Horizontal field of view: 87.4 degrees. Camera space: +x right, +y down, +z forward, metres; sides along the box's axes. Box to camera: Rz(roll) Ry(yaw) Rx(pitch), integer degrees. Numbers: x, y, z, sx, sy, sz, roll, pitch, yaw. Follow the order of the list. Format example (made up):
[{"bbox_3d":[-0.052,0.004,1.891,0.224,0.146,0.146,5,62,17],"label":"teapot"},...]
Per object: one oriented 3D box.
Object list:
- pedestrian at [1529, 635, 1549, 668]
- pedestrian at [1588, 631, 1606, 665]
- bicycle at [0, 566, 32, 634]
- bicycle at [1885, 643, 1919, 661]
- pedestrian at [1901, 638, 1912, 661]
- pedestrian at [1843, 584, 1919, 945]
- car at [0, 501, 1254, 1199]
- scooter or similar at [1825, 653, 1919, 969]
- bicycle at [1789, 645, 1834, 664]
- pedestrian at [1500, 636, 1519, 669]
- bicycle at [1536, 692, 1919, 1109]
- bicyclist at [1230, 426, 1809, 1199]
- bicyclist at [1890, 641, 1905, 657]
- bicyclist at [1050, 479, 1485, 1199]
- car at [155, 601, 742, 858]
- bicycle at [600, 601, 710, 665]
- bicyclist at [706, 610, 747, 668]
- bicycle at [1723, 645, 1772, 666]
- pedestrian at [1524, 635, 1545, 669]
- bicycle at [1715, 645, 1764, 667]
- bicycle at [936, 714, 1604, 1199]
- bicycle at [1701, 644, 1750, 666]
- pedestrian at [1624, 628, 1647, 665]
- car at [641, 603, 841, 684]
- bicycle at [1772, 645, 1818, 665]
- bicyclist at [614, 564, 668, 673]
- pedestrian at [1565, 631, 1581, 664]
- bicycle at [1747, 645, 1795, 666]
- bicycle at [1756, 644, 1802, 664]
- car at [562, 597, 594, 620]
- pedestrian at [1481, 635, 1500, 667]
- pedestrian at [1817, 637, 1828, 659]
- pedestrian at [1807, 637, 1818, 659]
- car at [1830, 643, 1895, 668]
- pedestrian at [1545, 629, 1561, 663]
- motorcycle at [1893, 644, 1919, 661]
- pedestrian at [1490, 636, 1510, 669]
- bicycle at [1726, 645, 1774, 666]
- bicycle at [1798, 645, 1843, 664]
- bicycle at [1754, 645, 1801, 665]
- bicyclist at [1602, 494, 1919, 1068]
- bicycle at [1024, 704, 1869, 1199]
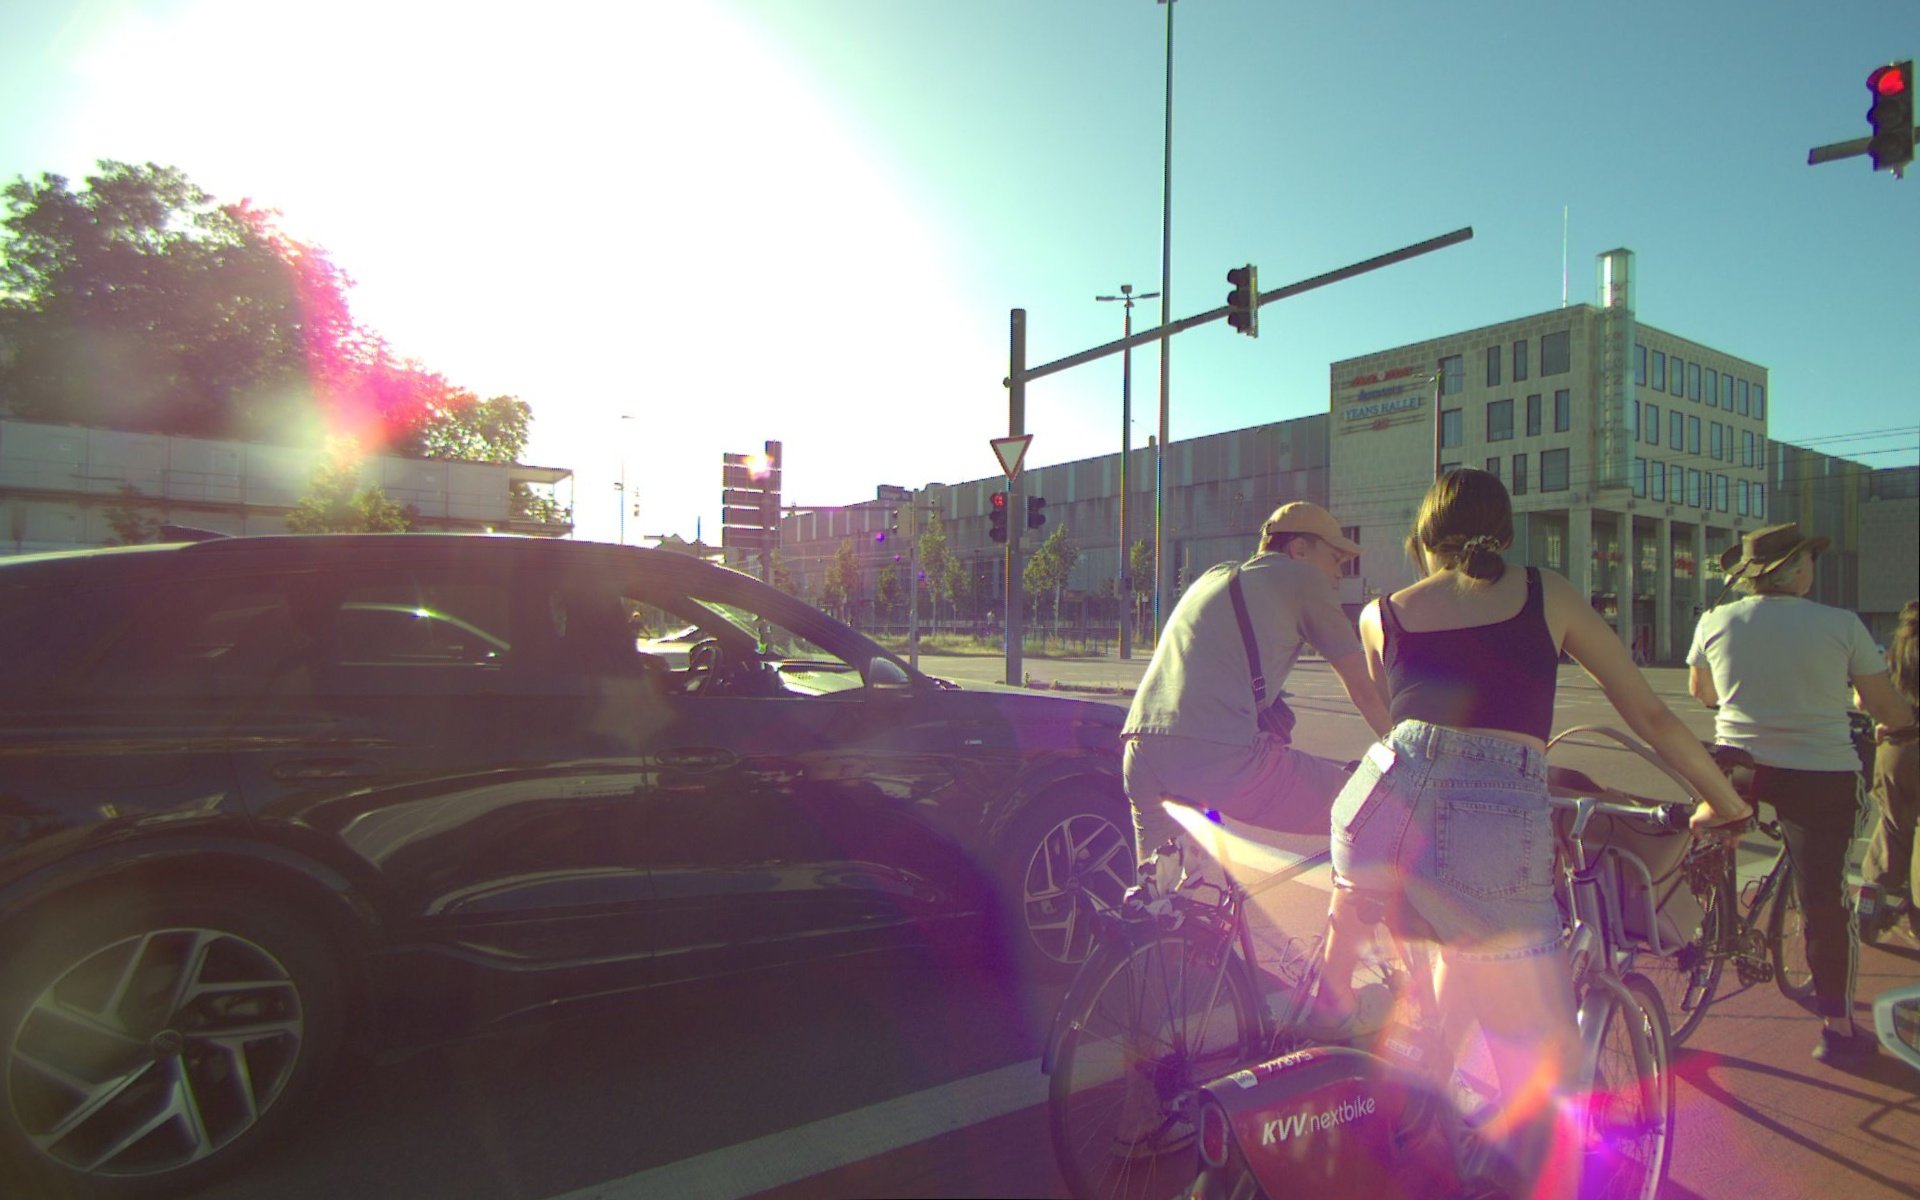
[{"bbox_3d":[34.407,3.052,59.685,0.710,1.910,0.779,2,0,-36],"label":"pedestrian"},{"bbox_3d":[35.872,2.702,56.579,0.784,1.868,0.863,0,-1,28],"label":"pedestrian"},{"bbox_3d":[-17.050,-0.019,17.179,1.632,1.170,0.493,2,0,-32],"label":"bicycle"},{"bbox_3d":[68.644,3.749,73.142,1.775,1.223,0.512,1,0,21],"label":"bicycle"},{"bbox_3d":[71.098,3.683,75.450,0.579,1.702,0.516,1,1,-43],"label":"pedestrian"},{"bbox_3d":[4.632,0.763,4.804,0.568,1.654,0.543,2,0,-45],"label":"pedestrian"},{"bbox_3d":[-1.155,0.632,3.868,4.630,1.656,1.760,1,0,-32],"label":"car"},{"bbox_3d":[4.491,0.927,4.712,1.186,1.311,0.541,2,0,-45],"label":"scooter or similar"},{"bbox_3d":[58.852,3.745,69.423,0.605,1.238,2.295,1,-1,-31],"label":"bicycle"},{"bbox_3d":[33.224,3.174,60.686,0.780,1.910,0.709,2,0,-37],"label":"pedestrian"},{"bbox_3d":[2.877,0.962,3.677,1.810,1.171,0.482,2,0,-31],"label":"bicycle"},{"bbox_3d":[1.086,0.550,1.974,0.866,1.600,0.638,1,0,-33],"label":"bicyclist"},{"bbox_3d":[68.360,3.576,73.265,0.613,1.099,0.512,1,0,20],"label":"bicyclist"},{"bbox_3d":[0.801,0.560,2.671,0.833,1.627,0.712,1,0,-32],"label":"bicyclist"},{"bbox_3d":[-3.587,0.790,7.494,3.562,1.505,1.485,1,0,-30],"label":"car"},{"bbox_3d":[-9.117,0.948,30.057,3.047,1.835,0.835,0,1,-32],"label":"bicycle"},{"bbox_3d":[-8.422,1.395,36.287,1.078,2.040,0.961,2,0,16],"label":"bicyclist"},{"bbox_3d":[48.047,3.374,61.334,0.605,1.238,2.295,1,-1,-31],"label":"bicycle"},{"bbox_3d":[33.397,3.015,58.373,0.710,1.910,0.779,2,0,-36],"label":"pedestrian"},{"bbox_3d":[46.964,3.337,60.523,0.605,1.238,2.295,1,-1,-31],"label":"bicycle"},{"bbox_3d":[0.939,0.954,2.768,1.949,1.124,0.643,1,0,-33],"label":"bicycle"},{"bbox_3d":[45.763,3.298,60.079,0.605,1.238,2.295,1,-1,-31],"label":"bicycle"},{"bbox_3d":[38.054,2.619,56.566,0.767,2.040,0.876,2,0,-41],"label":"pedestrian"},{"bbox_3d":[-4.654,0.918,21.470,3.851,1.606,1.646,2,-2,-30],"label":"car"},{"bbox_3d":[55.520,3.630,66.825,0.605,1.238,2.295,1,-1,-31],"label":"bicycle"},{"bbox_3d":[-9.458,0.544,29.818,1.292,3.144,0.835,2,0,-32],"label":"bicyclist"},{"bbox_3d":[35.630,2.738,58.420,0.784,1.868,0.862,0,-1,32],"label":"pedestrian"},{"bbox_3d":[51.277,3.484,63.546,0.605,1.238,2.295,1,-1,-31],"label":"bicycle"},{"bbox_3d":[54.281,3.591,66.562,0.605,1.238,2.295,1,-1,-31],"label":"bicycle"},{"bbox_3d":[-32.935,0.728,86.512,1.785,1.908,3.964,2,0,-33],"label":"car"},{"bbox_3d":[32.422,3.120,61.377,0.710,1.910,0.779,2,0,-36],"label":"pedestrian"},{"bbox_3d":[66.821,3.720,77.843,0.602,1.702,0.549,1,0,-40],"label":"pedestrian"},{"bbox_3d":[66.432,3.715,78.267,0.610,1.702,0.565,1,0,-39],"label":"pedestrian"},{"bbox_3d":[49.783,3.072,55.405,3.956,1.359,1.621,2,-4,-32],"label":"car"},{"bbox_3d":[34.259,2.671,58.022,0.705,1.910,0.785,2,0,33],"label":"pedestrian"},{"bbox_3d":[70.739,3.919,74.850,0.508,1.223,1.786,1,0,-44],"label":"motorcycle"},{"bbox_3d":[32.162,3.137,59.864,0.710,1.910,0.779,2,0,-36],"label":"pedestrian"},{"bbox_3d":[48.697,3.397,61.955,0.605,1.238,2.295,1,-1,-31],"label":"bicycle"},{"bbox_3d":[59.824,3.777,69.848,0.605,1.238,2.295,1,-1,-31],"label":"bicycle"},{"bbox_3d":[52.902,3.541,65.014,0.605,1.238,2.295,1,-1,-31],"label":"bicycle"},{"bbox_3d":[2.868,0.557,3.551,0.856,1.743,0.657,2,0,-30],"label":"bicyclist"},{"bbox_3d":[1.034,0.884,1.946,1.811,1.234,0.612,1,0,-33],"label":"bicycle"}]
